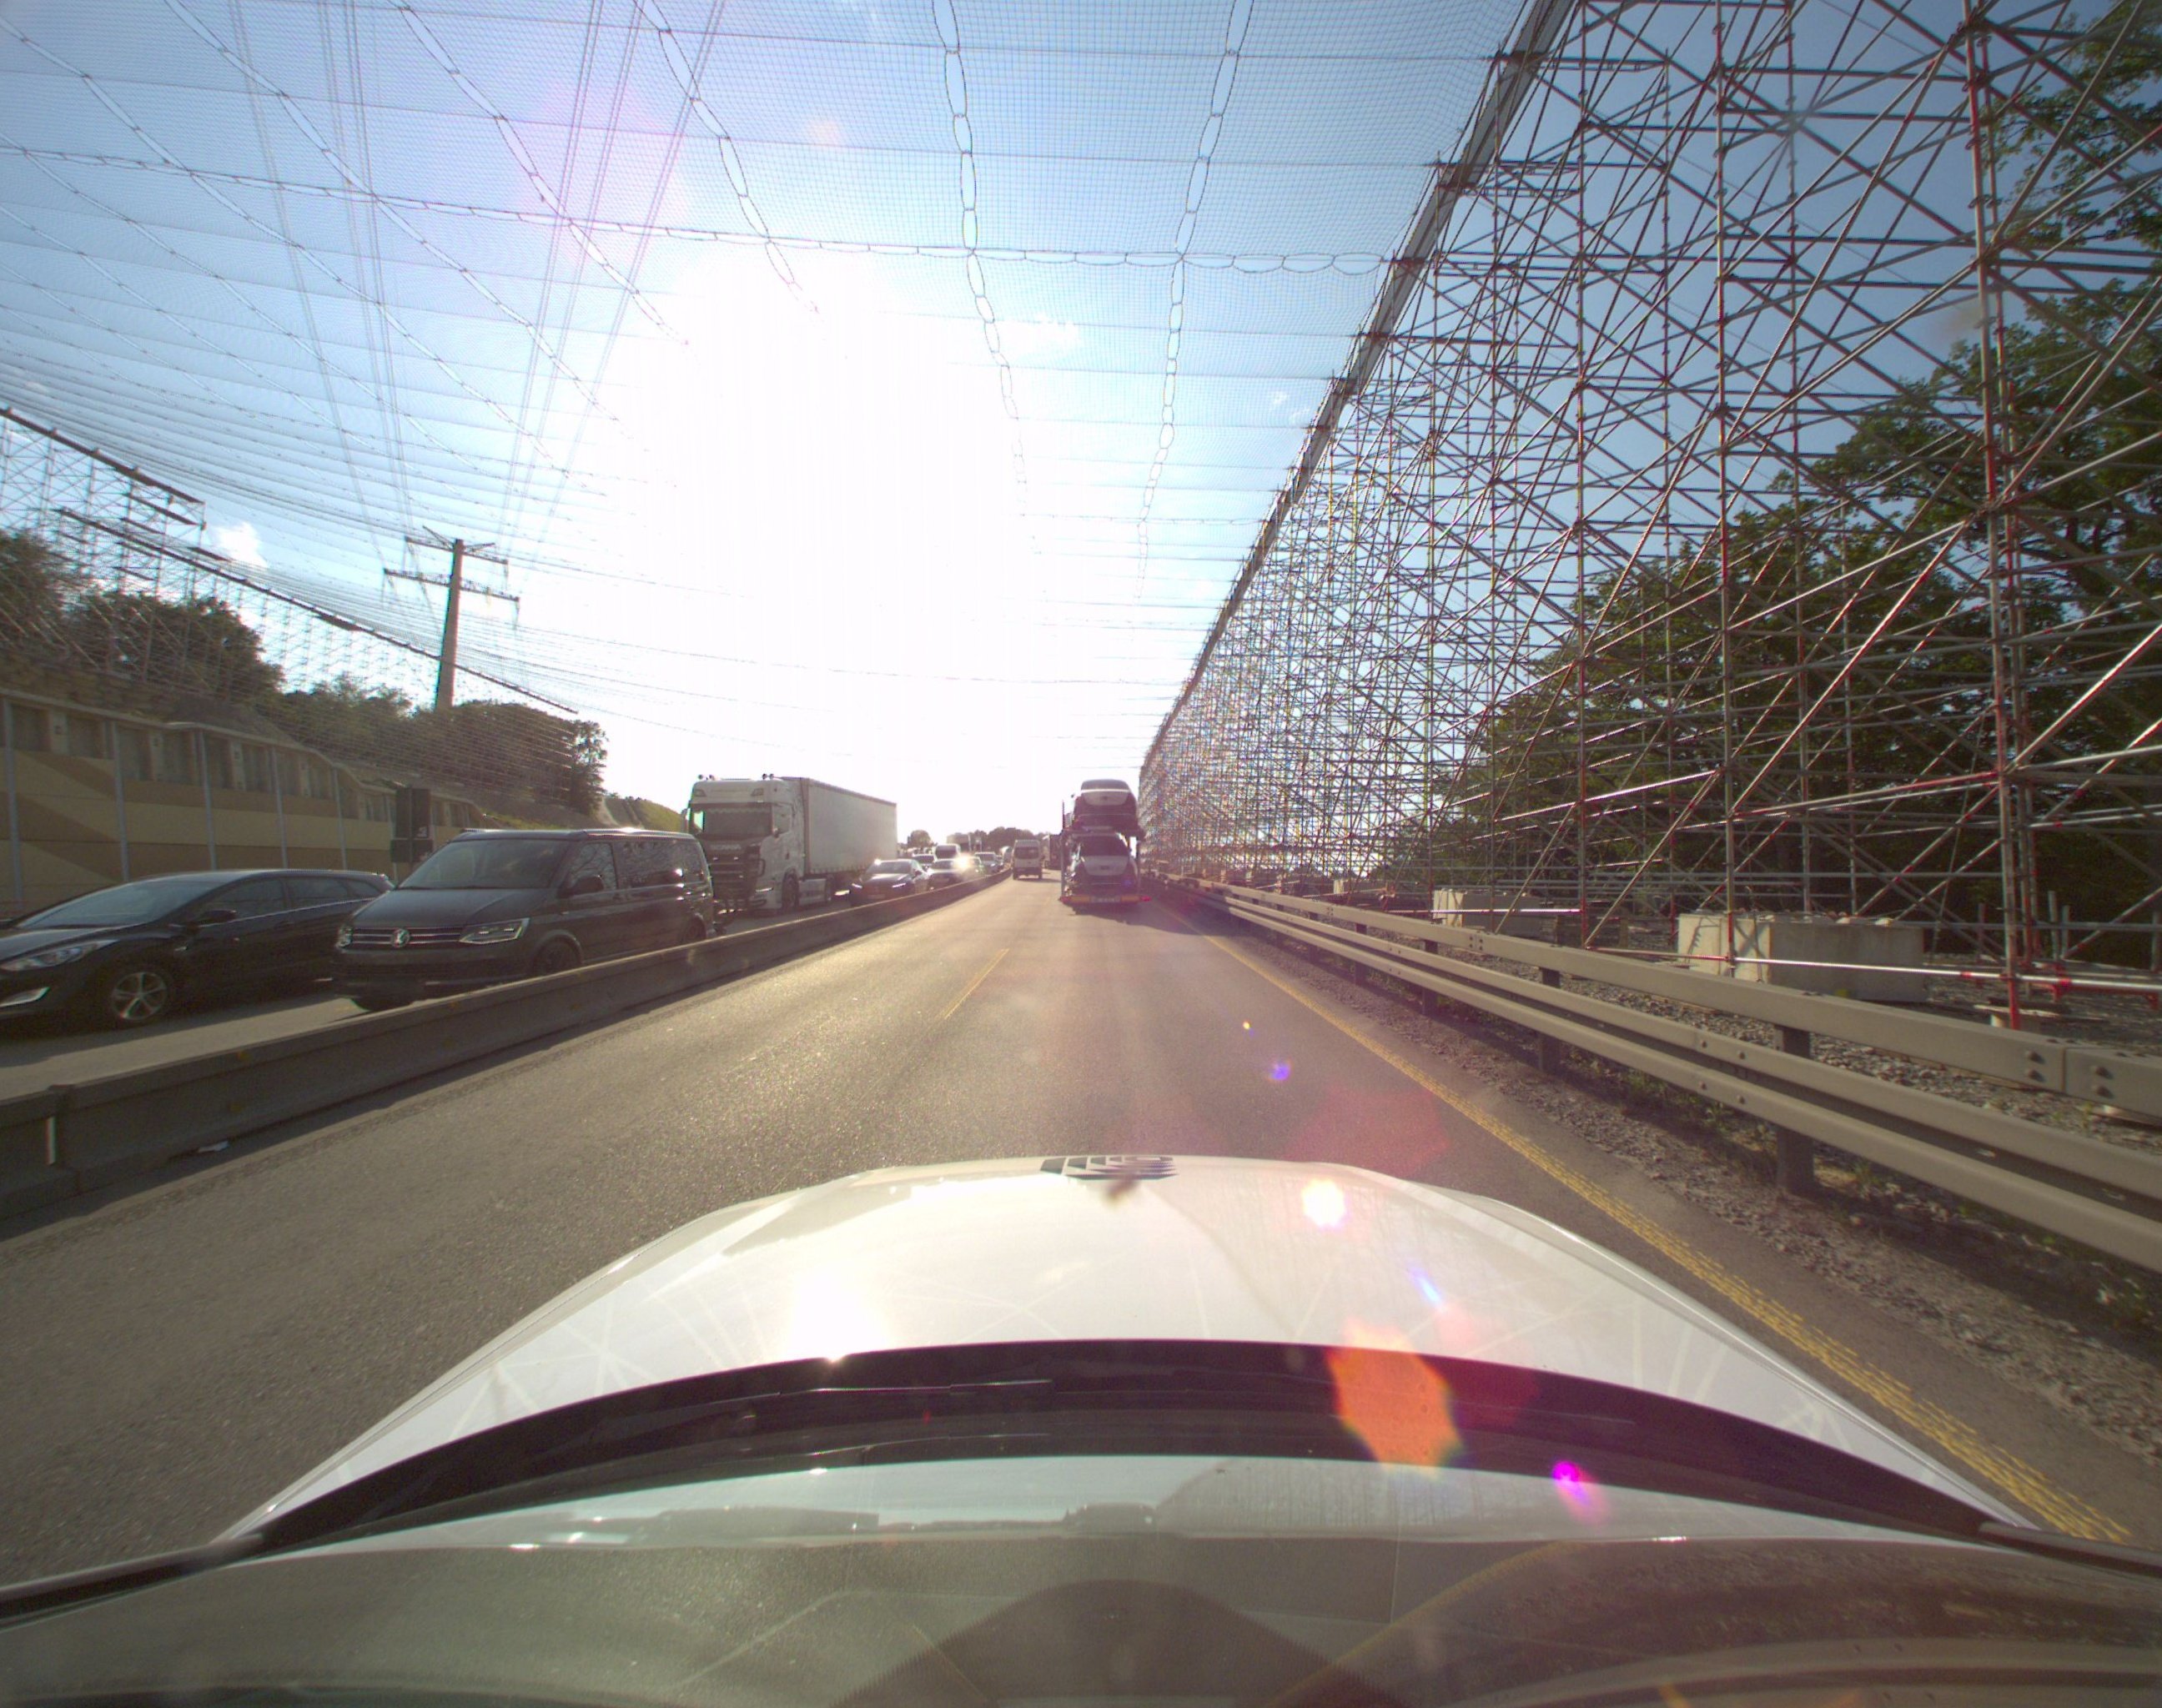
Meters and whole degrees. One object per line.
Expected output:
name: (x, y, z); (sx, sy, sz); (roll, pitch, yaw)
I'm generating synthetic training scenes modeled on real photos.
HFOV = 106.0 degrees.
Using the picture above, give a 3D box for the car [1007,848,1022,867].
car: (-9.470, 0.478, 116.247); (1.992, 2.578, 3.990); (0, 0, -7)

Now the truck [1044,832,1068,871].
truck: (-3.009, -0.241, 96.817); (2.725, 4.385, 11.510); (0, 0, -2)

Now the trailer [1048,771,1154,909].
trailer: (0.554, -0.302, 29.770); (2.860, 3.725, 14.943); (-1, -1, 0)

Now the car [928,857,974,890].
car: (-6.390, 0.936, 40.343); (1.737, 1.543, 4.401); (0, 0, -3)

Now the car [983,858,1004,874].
car: (-8.378, 1.102, 77.741); (1.835, 1.453, 3.989); (0, 0, -8)

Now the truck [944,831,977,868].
truck: (-12.196, -0.412, 83.256); (2.591, 3.473, 12.367); (0, 0, -6)

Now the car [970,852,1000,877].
car: (-7.517, 0.797, 64.064); (1.831, 1.893, 3.999); (0, 0, -1)

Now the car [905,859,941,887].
car: (-10.145, 1.206, 52.458); (1.675, 1.684, 3.996); (0, 0, -3)

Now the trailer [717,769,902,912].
trailer: (-9.566, -0.381, 31.102); (2.646, 4.233, 13.911); (0, 0, -1)

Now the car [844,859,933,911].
car: (-6.158, 0.940, 26.566); (1.779, 1.502, 4.753); (0, 0, 0)

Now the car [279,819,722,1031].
car: (-6.393, 0.662, 9.907); (1.868, 1.935, 4.861); (0, 0, 0)

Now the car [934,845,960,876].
car: (-11.290, 0.556, 68.832); (1.991, 2.541, 3.991); (0, 0, -6)

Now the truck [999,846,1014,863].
truck: (-16.928, 0.073, 184.927); (2.617, 3.723, 9.624); (0, 0, -10)

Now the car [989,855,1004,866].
car: (-11.241, 0.856, 108.258); (1.701, 1.453, 3.987); (0, 0, -9)

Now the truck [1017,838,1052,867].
truck: (-7.684, -0.097, 132.032); (3.689, 4.221, 13.615); (-4, 0, -11)

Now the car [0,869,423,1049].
car: (-9.747, 0.910, 8.863); (1.715, 1.447, 4.139); (0, 0, 1)

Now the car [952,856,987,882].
car: (-7.206, 0.930, 52.979); (1.690, 1.629, 3.999); (0, 0, -1)

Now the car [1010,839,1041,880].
car: (-3.806, 0.400, 55.719); (1.954, 2.621, 3.992); (-1, -1, -6)

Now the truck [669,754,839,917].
truck: (-9.446, -0.469, 24.304); (2.655, 4.230, 6.101); (-1, -1, -1)

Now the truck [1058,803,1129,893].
truck: (0.544, -0.214, 37.336); (2.872, 3.702, 7.324); (-1, -1, 0)

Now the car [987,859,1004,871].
car: (-10.090, 1.278, 95.890); (1.701, 1.453, 3.987); (0, 0, -9)

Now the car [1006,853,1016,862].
car: (-12.774, 0.705, 148.146); (1.707, 1.618, 3.499); (-1, -1, -3)
